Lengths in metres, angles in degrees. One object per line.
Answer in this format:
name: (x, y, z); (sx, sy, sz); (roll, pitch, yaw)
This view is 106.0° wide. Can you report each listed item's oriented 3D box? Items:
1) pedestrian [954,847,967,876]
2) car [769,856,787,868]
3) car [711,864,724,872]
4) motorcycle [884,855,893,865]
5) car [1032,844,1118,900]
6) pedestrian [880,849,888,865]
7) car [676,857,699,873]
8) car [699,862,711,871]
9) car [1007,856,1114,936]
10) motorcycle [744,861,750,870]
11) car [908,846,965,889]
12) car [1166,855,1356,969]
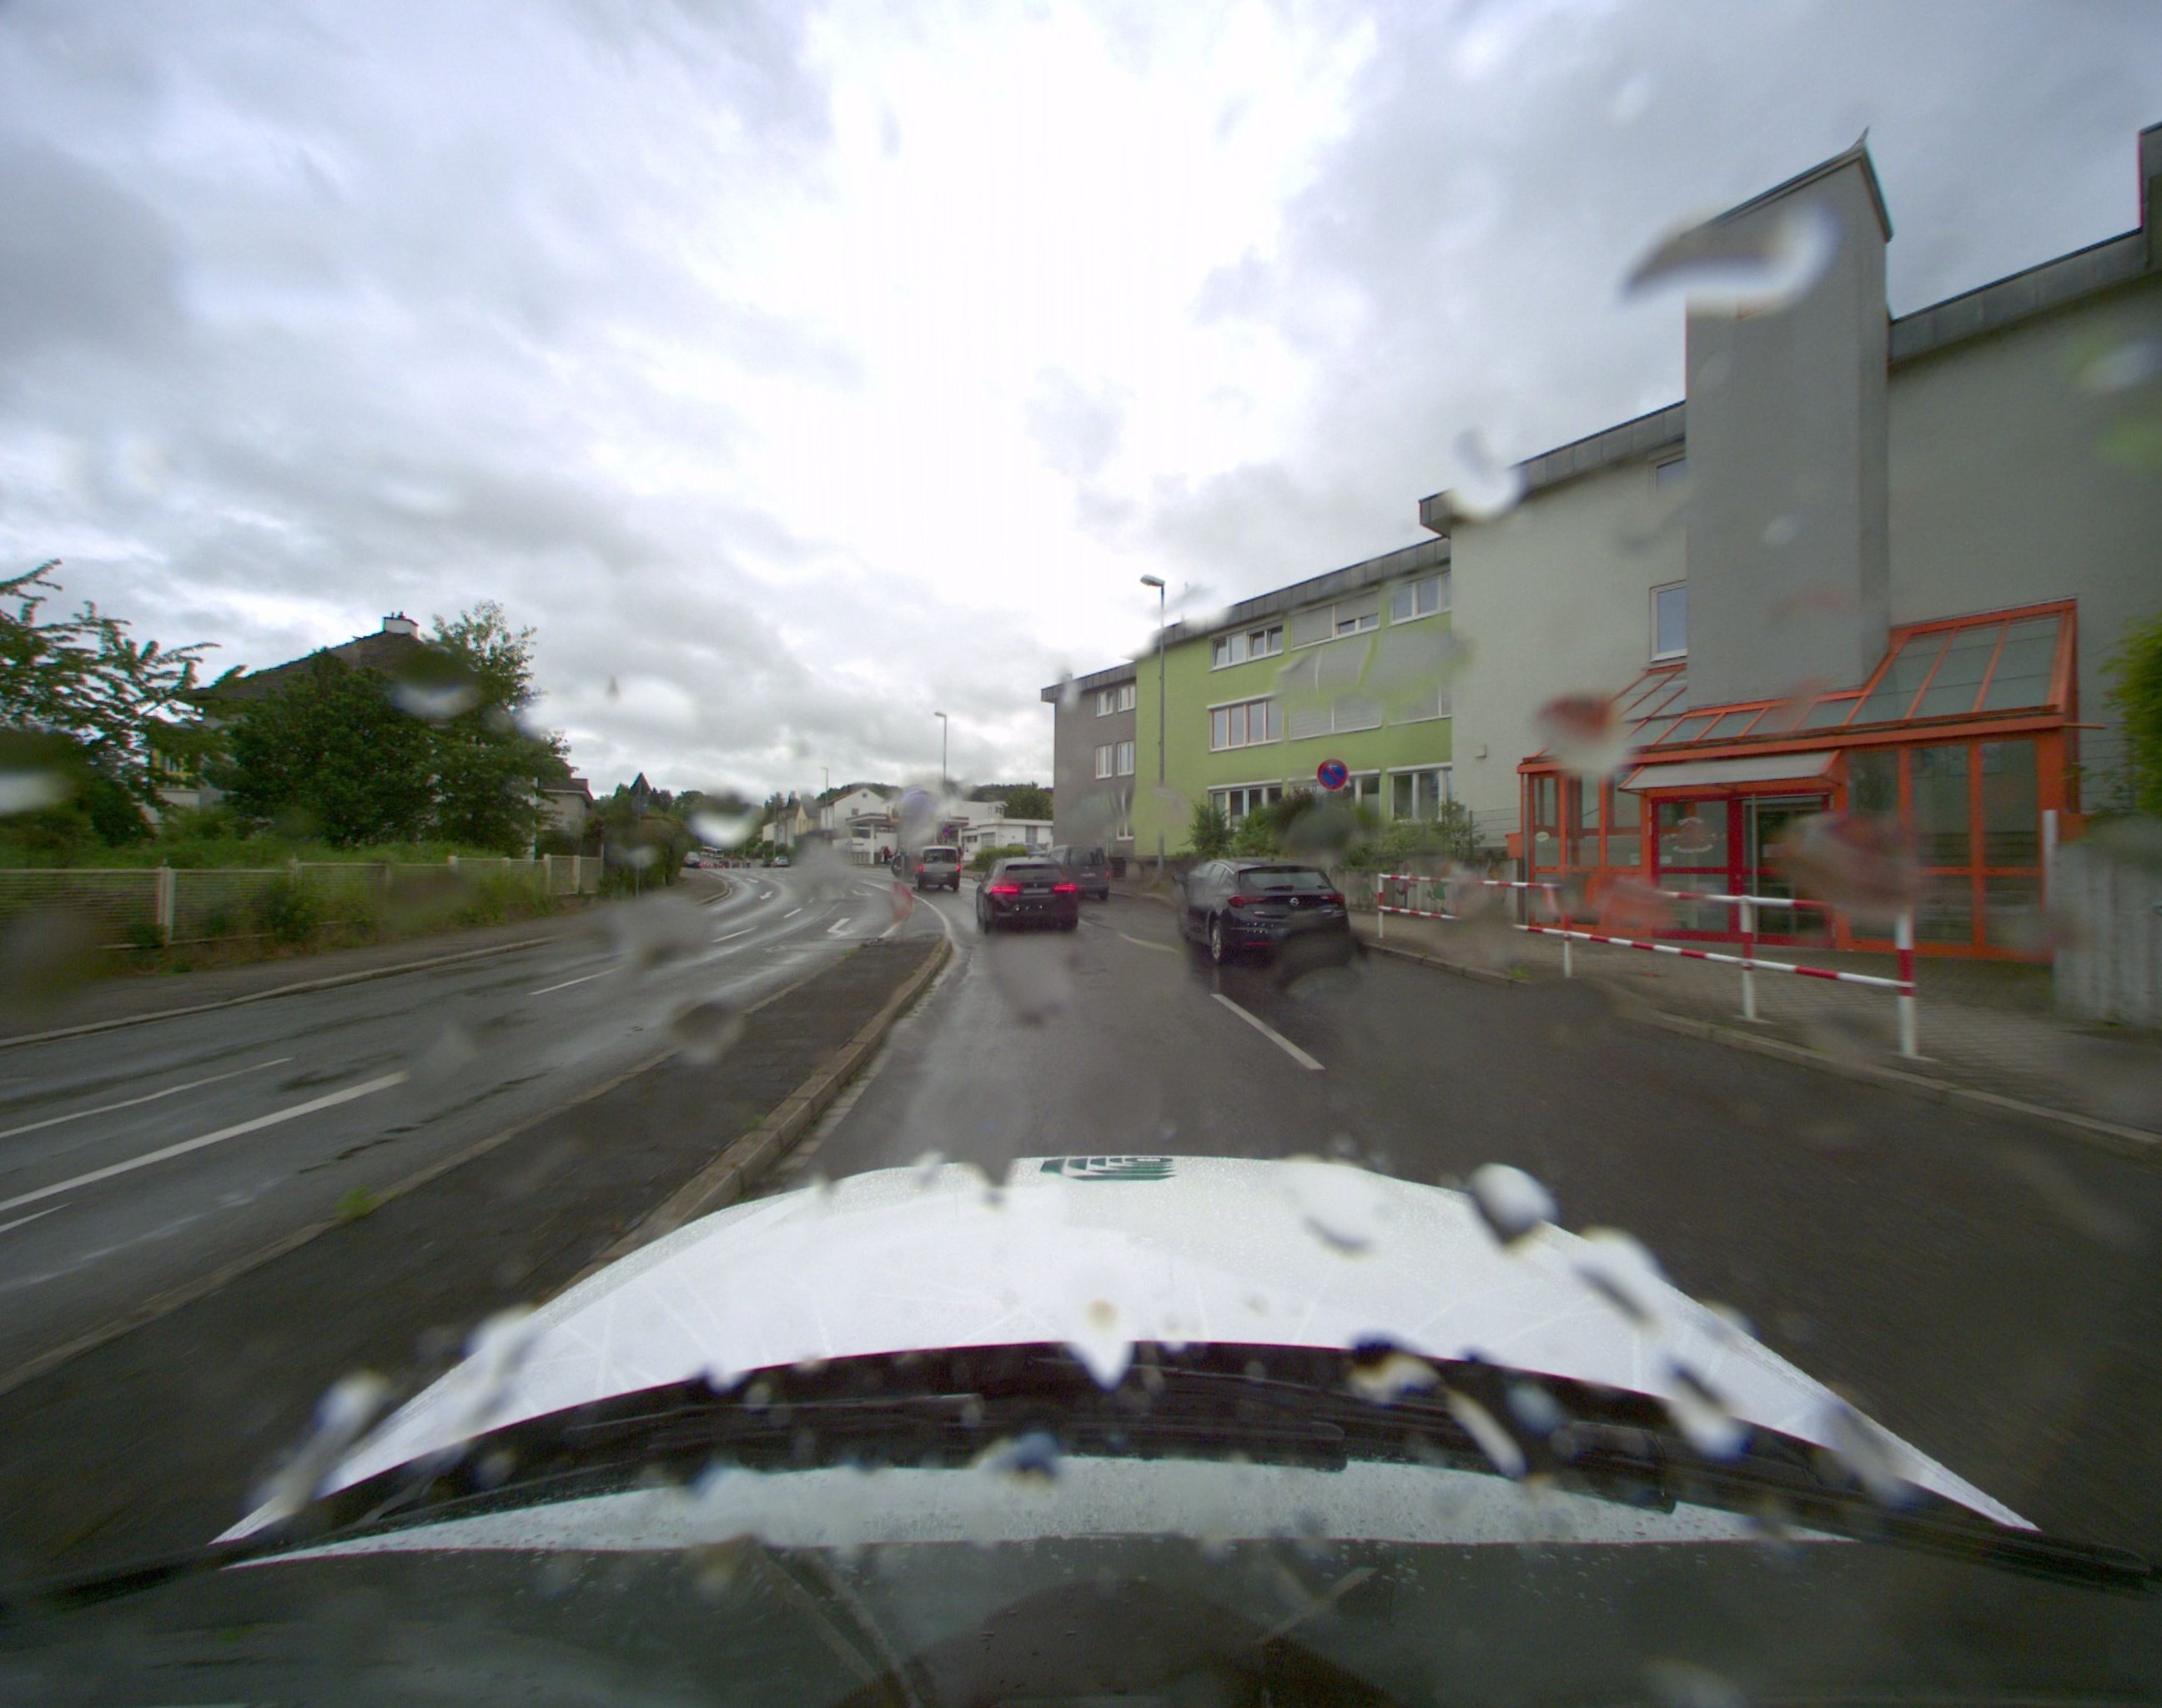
pedestrian: (-8.346, 0.517, 56.400); (0.718, 2.014, 0.610); (0, -2, -20)
car: (-41.622, 1.095, 111.910); (1.711, 1.510, 4.491); (0, -2, -29)
car: (-76.615, 2.929, 171.459); (2.006, 1.741, 3.960); (0, -2, -31)
motorcycle: (-19.879, 0.639, 84.077); (0.465, 1.055, 1.377); (0, -2, -29)
car: (-0.293, 0.619, 27.969); (1.843, 1.767, 3.976); (0, -2, -18)
pedestrian: (-20.350, 0.302, 84.097); (0.613, 1.656, 0.580); (0, -2, -27)
car: (-36.937, 1.029, 76.330); (1.760, 1.440, 4.091); (0, -2, -28)
car: (-70.499, 2.372, 152.516); (2.003, 1.741, 3.966); (0, -2, -25)
car: (-0.570, 0.843, 17.478); (1.991, 1.484, 3.991); (0, -2, -6)
motorcycle: (-58.500, 2.089, 142.469); (0.707, 1.509, 2.130); (-3, 0, -29)
car: (-6.287, 0.614, 35.149); (1.998, 1.738, 3.977); (0, -2, -17)
car: (2.545, 0.757, 12.515); (1.753, 1.449, 3.993); (0, 0, -5)
